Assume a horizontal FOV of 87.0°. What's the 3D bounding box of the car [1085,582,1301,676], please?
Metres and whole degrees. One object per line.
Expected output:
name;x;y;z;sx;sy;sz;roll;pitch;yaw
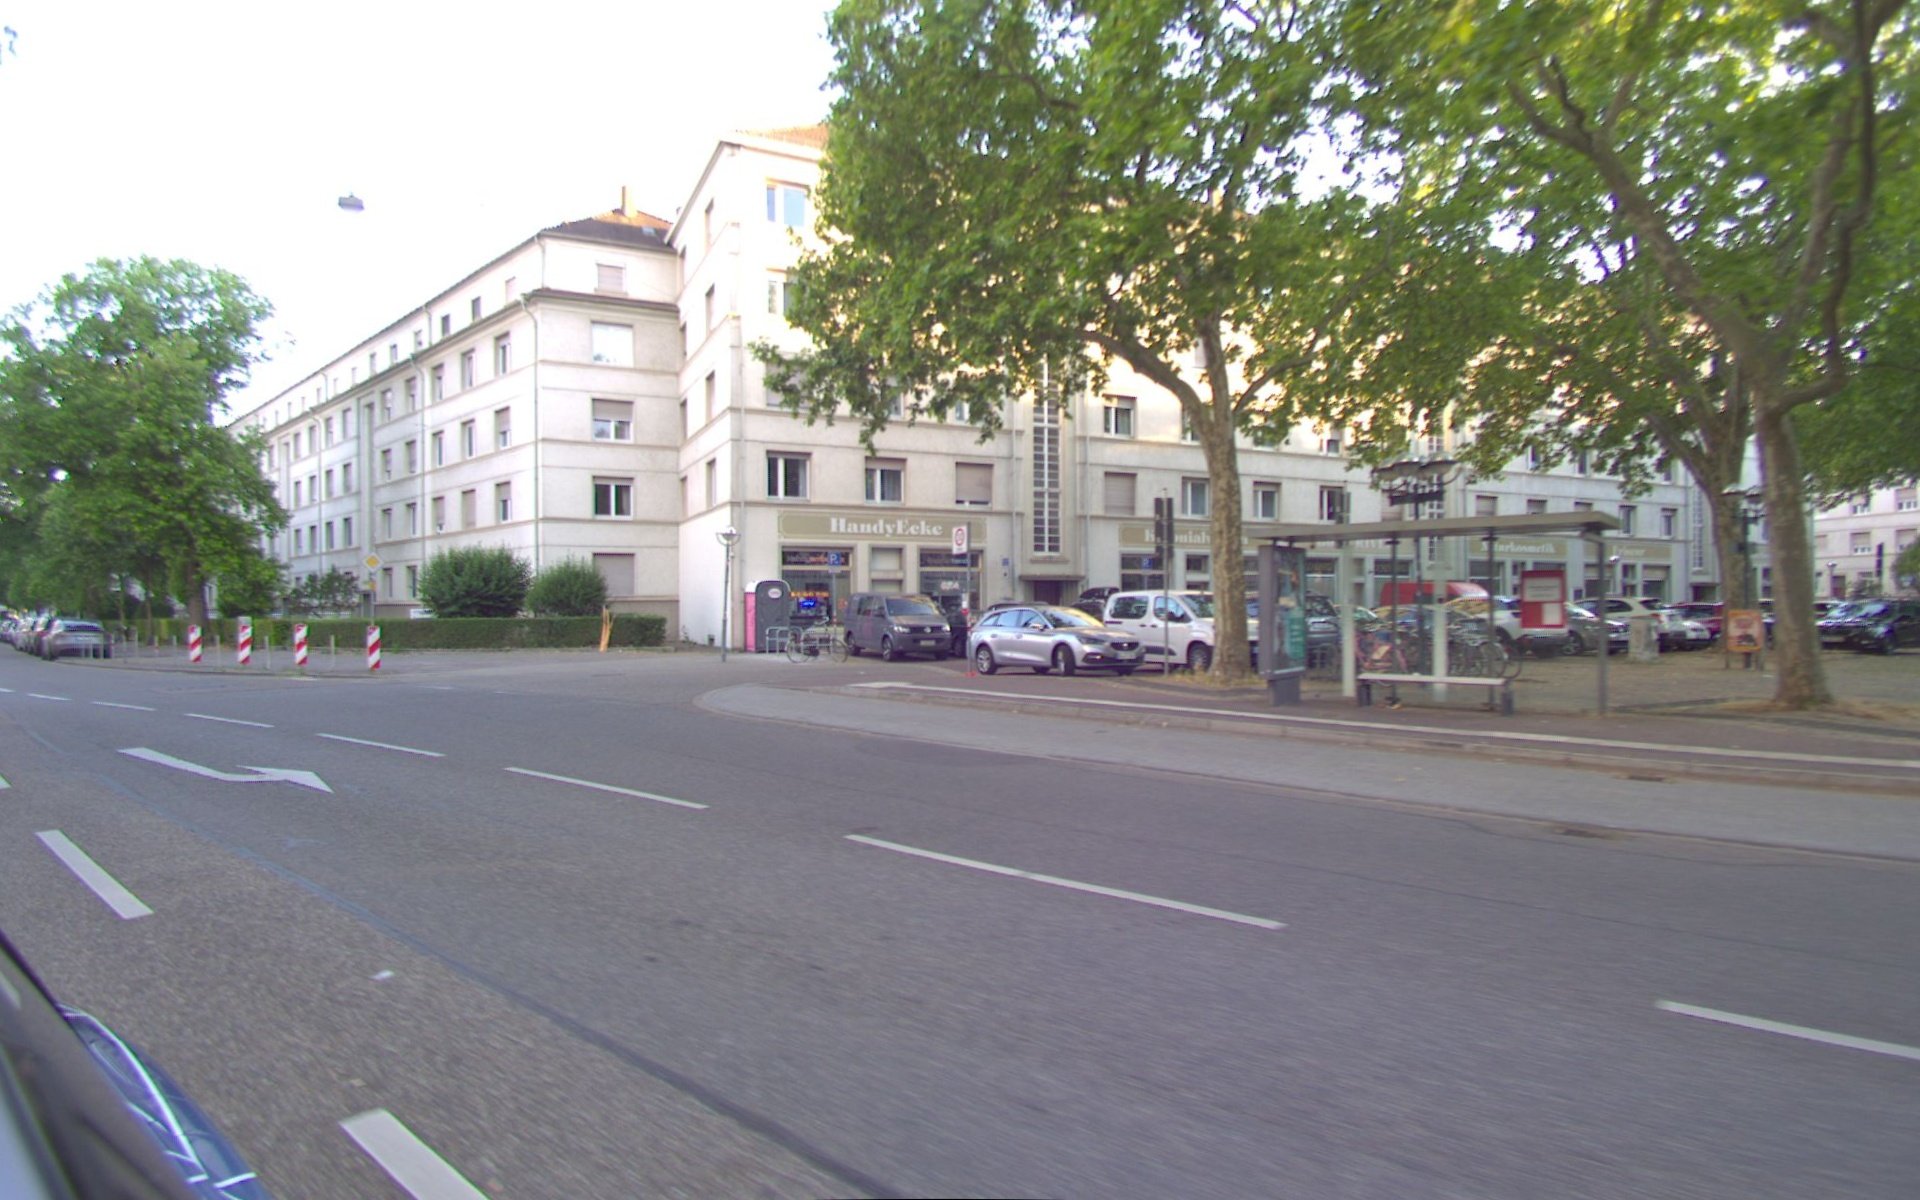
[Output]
car;4.881;0.670;21.951;1.965;1.795;4.655;1;-3;-28

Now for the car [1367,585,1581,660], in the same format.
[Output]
car;13.265;0.645;26.469;1.965;1.795;4.655;1;-3;-28

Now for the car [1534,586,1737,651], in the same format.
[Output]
car;20.185;0.636;30.468;1.965;1.795;4.655;1;-3;-28

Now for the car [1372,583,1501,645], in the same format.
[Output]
car;19.834;0.537;42.356;1.965;2.460;4.656;1;0;-26

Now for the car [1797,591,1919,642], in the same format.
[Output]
car;33.262;0.619;36.188;1.965;1.748;4.655;1;-3;-28

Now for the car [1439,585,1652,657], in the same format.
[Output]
car;15.769;0.632;27.552;1.965;1.795;4.655;1;-3;-28

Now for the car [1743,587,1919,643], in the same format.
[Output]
car;30.259;0.580;34.925;1.965;1.795;4.655;1;-3;-28

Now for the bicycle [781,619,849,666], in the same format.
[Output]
bicycle;-4.000;1.160;27.863;1.776;1.215;0.649;-1;0;-16

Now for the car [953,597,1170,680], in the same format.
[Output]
car;1.967;0.825;21.086;1.967;1.515;4.652;1;-3;-35

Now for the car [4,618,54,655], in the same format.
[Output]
car;-49.676;1.895;53.964;1.867;1.787;4.263;-1;0;-44

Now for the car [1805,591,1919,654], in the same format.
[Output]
car;23.916;0.559;26.148;3.696;1.540;1.680;0;0;-23

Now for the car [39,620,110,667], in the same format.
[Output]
car;-34.354;1.642;39.237;1.867;1.612;4.003;-1;0;-44

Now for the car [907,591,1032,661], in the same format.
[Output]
car;0.199;0.735;31.516;1.965;1.970;4.656;1;0;-26

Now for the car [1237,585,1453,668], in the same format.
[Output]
car;9.084;0.681;24.309;1.965;1.795;4.655;1;-3;-28

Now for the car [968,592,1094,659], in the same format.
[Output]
car;2.184;0.750;32.610;1.965;1.970;4.656;1;0;-26

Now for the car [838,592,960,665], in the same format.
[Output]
car;-1.919;0.782;30.269;1.965;1.970;4.656;1;0;-26

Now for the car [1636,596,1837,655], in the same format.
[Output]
car;24.708;0.881;32.426;1.965;1.748;4.655;1;-3;-28

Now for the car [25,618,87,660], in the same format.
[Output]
car;-40.071;1.677;44.821;1.867;1.703;4.263;-1;0;-44

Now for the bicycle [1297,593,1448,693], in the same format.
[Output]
bicycle;7.213;0.701;17.903;0.680;1.626;2.754;-1;0;-24

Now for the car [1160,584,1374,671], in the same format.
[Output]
car;6.927;0.673;23.407;1.965;1.795;4.655;1;-3;-28

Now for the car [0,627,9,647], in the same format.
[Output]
car;-80.043;3.066;83.760;1.867;1.612;4.263;-1;0;-44

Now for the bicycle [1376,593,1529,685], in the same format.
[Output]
bicycle;9.332;0.690;19.345;0.795;1.626;2.754;-1;0;-24

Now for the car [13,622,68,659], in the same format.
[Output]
car;-45.341;1.968;49.877;1.867;1.612;4.263;-1;0;-44

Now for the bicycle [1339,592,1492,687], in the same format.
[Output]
bicycle;8.392;0.678;18.830;0.795;1.626;2.754;-1;0;-24

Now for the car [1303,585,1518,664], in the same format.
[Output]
car;11.140;0.665;25.389;1.965;1.795;4.655;1;-3;-28

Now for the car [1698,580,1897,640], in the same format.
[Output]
car;27.915;0.401;33.913;2.057;1.795;4.655;1;-3;-28

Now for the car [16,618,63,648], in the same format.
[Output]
car;-53.143;1.860;58.384;1.867;1.612;4.263;-1;0;-44

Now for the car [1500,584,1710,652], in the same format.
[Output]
car;18.341;0.592;29.049;1.965;1.795;4.655;1;-3;-28

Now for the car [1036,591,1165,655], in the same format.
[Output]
car;4.594;0.709;33.791;1.965;1.970;4.656;1;0;-26

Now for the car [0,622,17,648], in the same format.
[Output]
car;-73.079;2.665;77.038;1.867;1.879;4.263;-1;0;-44

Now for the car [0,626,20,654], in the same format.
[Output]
car;-66.824;2.773;70.542;1.867;1.840;4.263;-1;0;-44

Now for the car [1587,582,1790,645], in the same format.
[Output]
car;22.353;0.488;31.277;1.965;1.795;4.655;1;-3;-28

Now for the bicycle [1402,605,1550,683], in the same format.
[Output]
bicycle;10.045;0.804;19.858;0.680;1.394;2.754;-1;0;-24
